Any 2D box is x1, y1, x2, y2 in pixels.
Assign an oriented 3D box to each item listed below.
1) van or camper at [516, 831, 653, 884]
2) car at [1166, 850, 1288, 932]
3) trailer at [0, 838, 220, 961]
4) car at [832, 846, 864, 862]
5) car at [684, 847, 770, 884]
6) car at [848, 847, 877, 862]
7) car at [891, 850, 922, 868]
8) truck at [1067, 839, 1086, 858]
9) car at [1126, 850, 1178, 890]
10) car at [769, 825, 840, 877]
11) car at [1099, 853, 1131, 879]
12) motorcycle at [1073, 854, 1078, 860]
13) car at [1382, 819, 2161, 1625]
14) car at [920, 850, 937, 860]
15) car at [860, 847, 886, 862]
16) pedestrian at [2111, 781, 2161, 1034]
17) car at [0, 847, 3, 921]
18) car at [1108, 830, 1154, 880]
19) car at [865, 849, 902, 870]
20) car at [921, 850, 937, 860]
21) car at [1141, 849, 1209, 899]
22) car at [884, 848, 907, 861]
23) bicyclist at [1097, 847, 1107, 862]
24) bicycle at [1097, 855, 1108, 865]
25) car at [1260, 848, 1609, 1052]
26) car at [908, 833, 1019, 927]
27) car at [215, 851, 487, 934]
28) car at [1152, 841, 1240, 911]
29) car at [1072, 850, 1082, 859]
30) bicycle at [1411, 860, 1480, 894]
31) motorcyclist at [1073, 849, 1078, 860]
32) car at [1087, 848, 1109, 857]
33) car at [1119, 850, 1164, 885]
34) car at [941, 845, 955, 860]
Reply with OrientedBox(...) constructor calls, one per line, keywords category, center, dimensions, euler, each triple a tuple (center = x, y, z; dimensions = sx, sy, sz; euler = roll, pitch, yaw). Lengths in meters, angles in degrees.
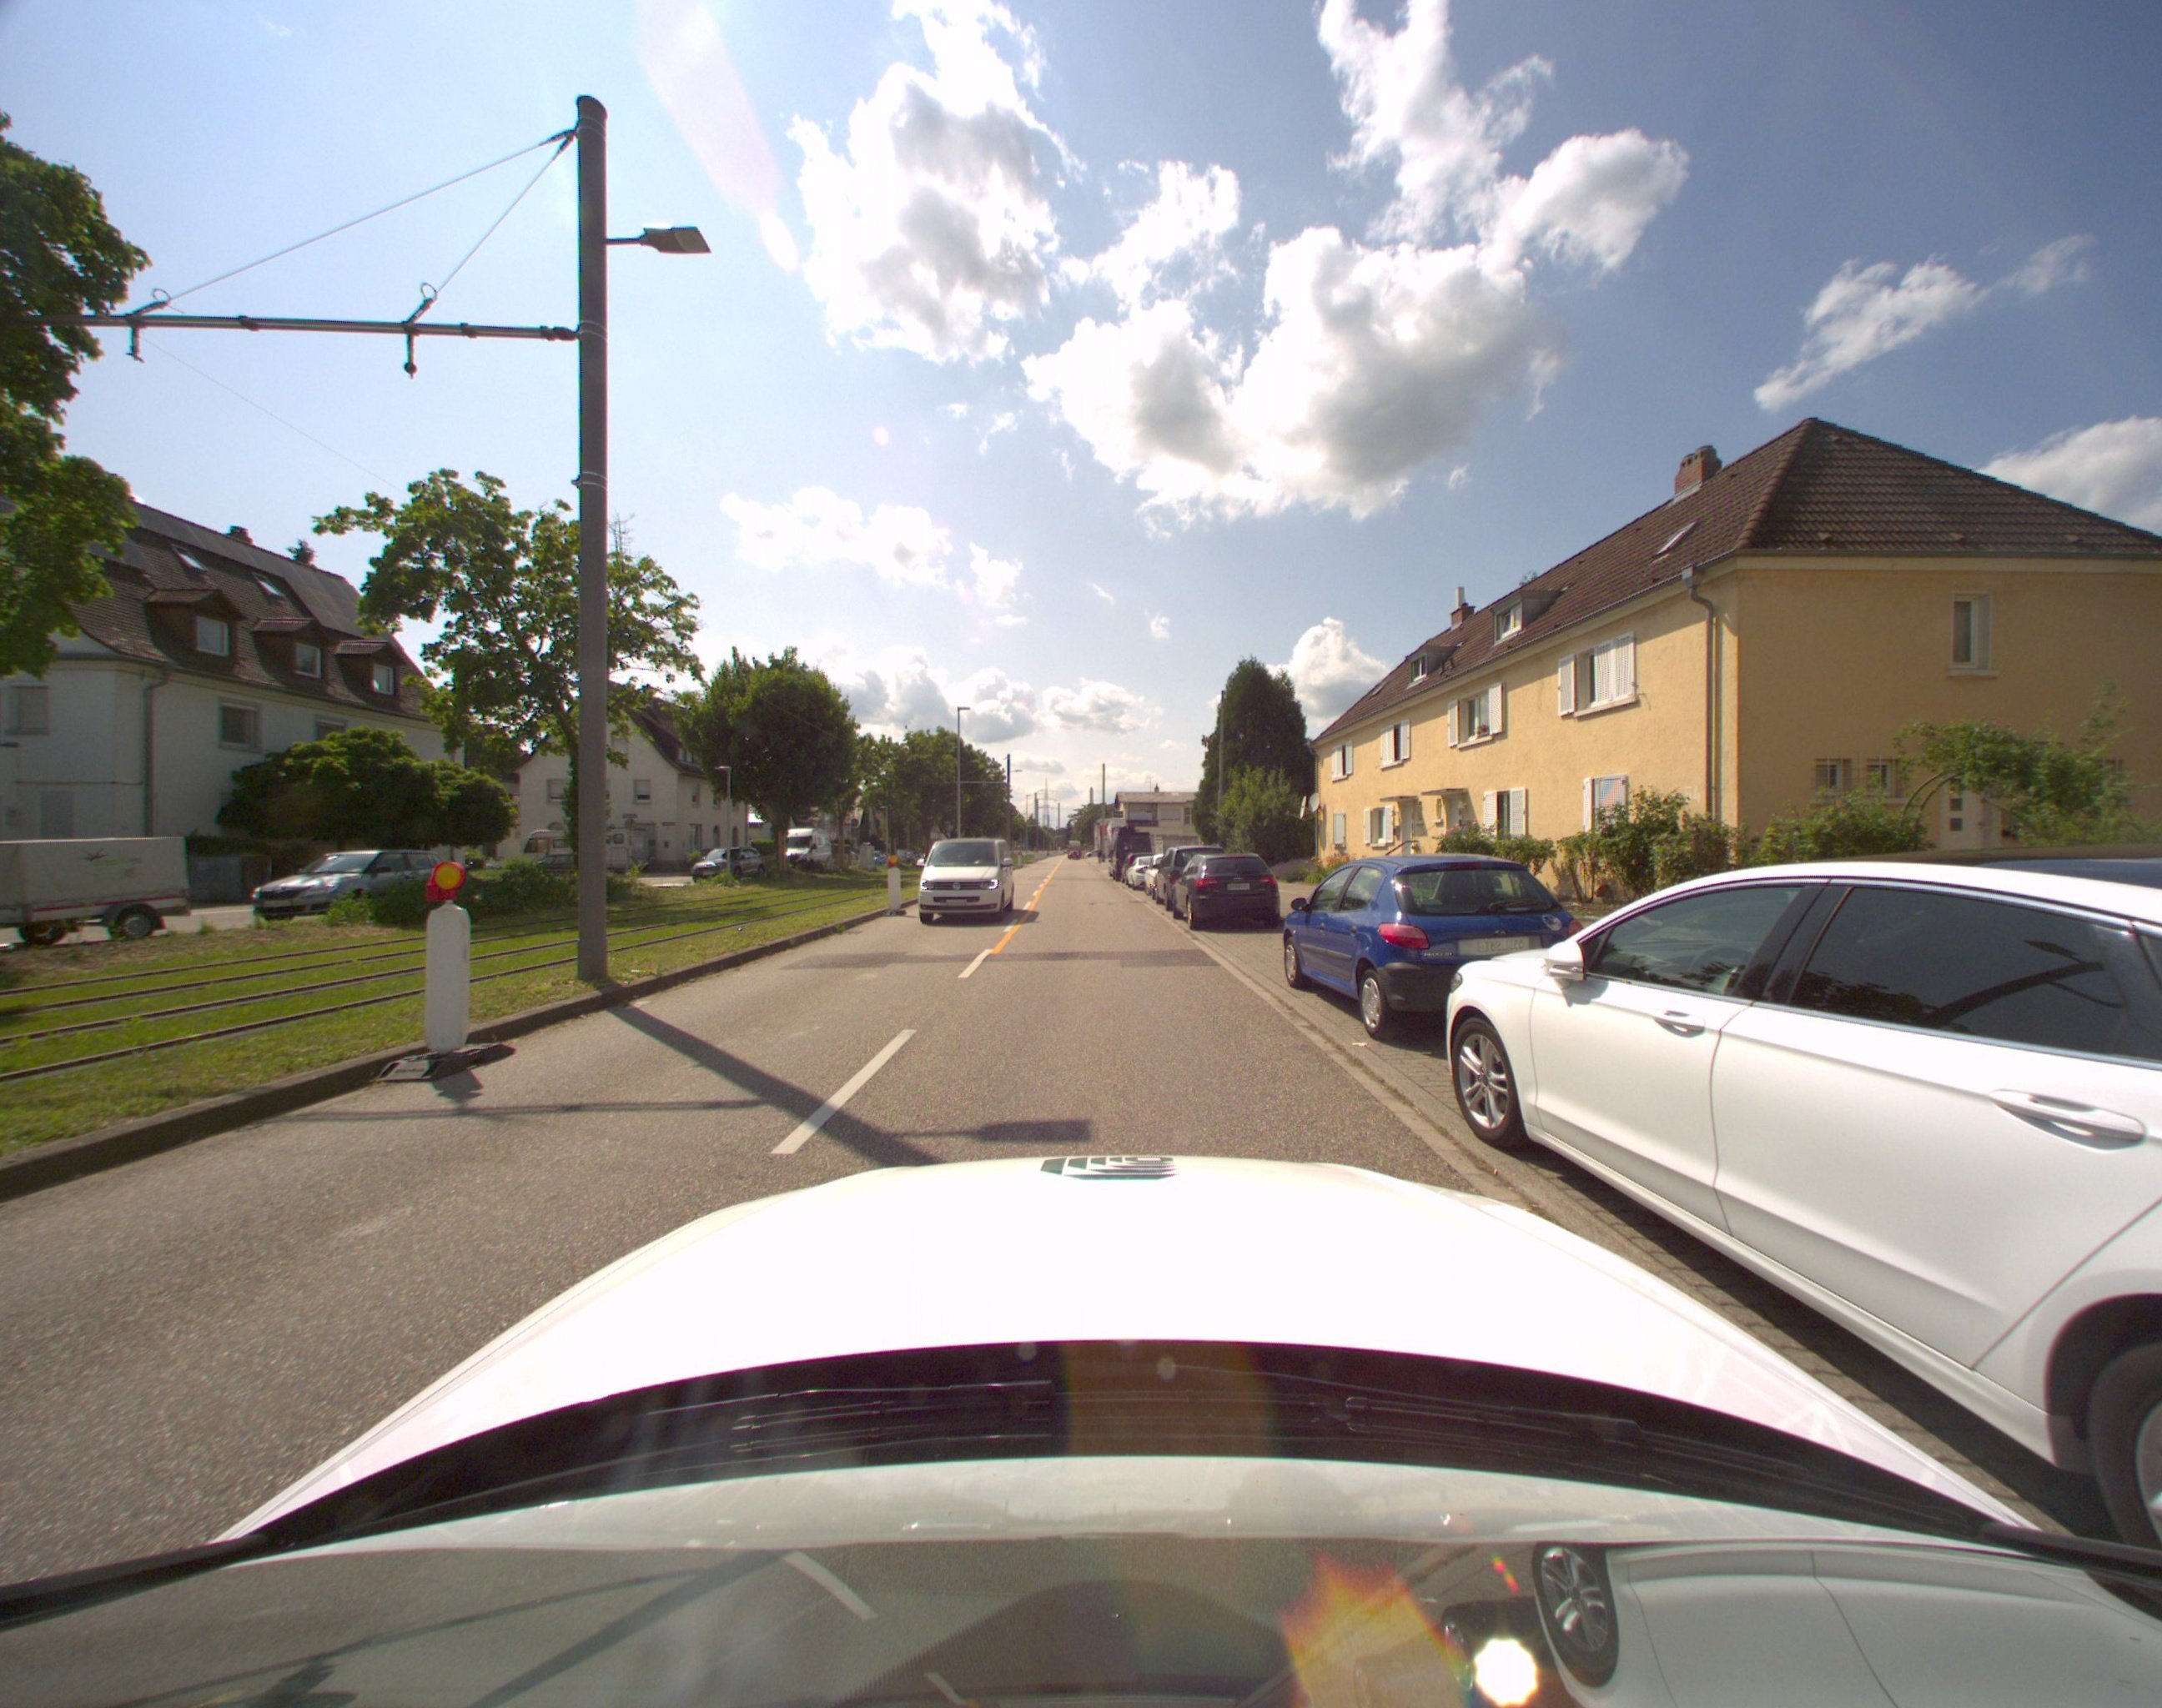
OrientedBox(category="van or camper", center=(-30.701, 0.212, 50.534), dimensions=(6.861, 3.126, 2.442), euler=(0, 0, -1))
OrientedBox(category="car", center=(2.870, 0.666, 16.803), dimensions=(1.758, 1.417, 3.999), euler=(-2, 0, 0))
OrientedBox(category="trailer", center=(-15.512, 0.618, 12.230), dimensions=(1.560, 1.678, 3.372), euler=(0, 0, 0))
OrientedBox(category="car", center=(-22.689, -0.005, 79.491), dimensions=(1.873, 1.553, 4.396), euler=(0, 0, -1))
OrientedBox(category="car", center=(-15.765, 0.471, 36.559), dimensions=(1.722, 1.505, 4.568), euler=(-2, 0, 1))
OrientedBox(category="car", center=(-22.817, 0.059, 85.104), dimensions=(1.873, 1.553, 4.396), euler=(0, 0, -1))
OrientedBox(category="car", center=(-15.561, 0.475, 72.755), dimensions=(1.873, 1.553, 4.396), euler=(0, 0, -1))
OrientedBox(category="truck", center=(-0.924, -0.972, 154.788), dimensions=(3.213, 3.402, 11.344), euler=(0, 0, -2))
OrientedBox(category="car", center=(2.818, 0.601, 33.108), dimensions=(1.758, 1.439, 3.999), euler=(-2, 0, 0))
OrientedBox(category="car", center=(-15.926, -0.188, 47.318), dimensions=(2.070, 2.721, 6.992), euler=(-2, 0, -4))
OrientedBox(category="car", center=(2.177, 0.755, 52.744), dimensions=(1.759, 1.502, 3.998), euler=(-2, 0, -1))
OrientedBox(category="motorcycle", center=(-0.875, 0.481, 132.568), dimensions=(0.881, 0.924, 2.615), euler=(0, 0, -1))
OrientedBox(category="car", center=(2.815, 0.645, 2.700), dimensions=(1.793, 1.458, 4.763), euler=(-2, 0, -1))
OrientedBox(category="car", center=(-23.256, 0.190, 124.308), dimensions=(1.873, 1.553, 4.394), euler=(0, 0, -2))
OrientedBox(category="car", center=(-22.975, 0.076, 90.064), dimensions=(1.873, 1.553, 4.396), euler=(0, 0, -1))
OrientedBox(category="pedestrian", center=(7.460, 0.349, 5.234), dimensions=(0.850, 1.652, 0.638), euler=(0, 0, 5))
OrientedBox(category="car", center=(-24.921, 0.651, 16.342), dimensions=(3.978, 1.571, 1.793), euler=(-1, 0, -3))
OrientedBox(category="car", center=(2.661, 0.055, 44.384), dimensions=(1.954, 2.478, 6.057), euler=(-2, 0, -1))
OrientedBox(category="car", center=(-15.408, 0.444, 63.722), dimensions=(1.873, 1.553, 4.376), euler=(0, 0, -1))
OrientedBox(category="car", center=(-24.326, 0.216, 130.101), dimensions=(1.873, 1.553, 4.394), euler=(0, 0, -2))
OrientedBox(category="car", center=(3.009, 0.605, 26.806), dimensions=(1.758, 1.476, 3.999), euler=(-2, 0, 0))
OrientedBox(category="car", center=(-23.099, 0.115, 101.692), dimensions=(1.873, 1.553, 4.396), euler=(0, 0, -1))
OrientedBox(category="bicyclist", center=(2.212, 0.072, 85.009), dimensions=(0.992, 1.569, 1.138), euler=(0, 0, -3))
OrientedBox(category="bicycle", center=(2.214, 0.619, 84.969), dimensions=(0.992, 1.049, 2.809), euler=(0, 0, -3))
OrientedBox(category="car", center=(3.003, 0.680, 7.890), dimensions=(1.615, 1.417, 3.999), euler=(-2, 0, 0))
OrientedBox(category="car", center=(-2.760, 0.547, 20.357), dimensions=(1.922, 1.958, 5.375), euler=(-2, 0, 0))
OrientedBox(category="car", center=(-15.618, 0.730, 17.849), dimensions=(1.722, 1.505, 4.568), euler=(-2, 0, 1))
OrientedBox(category="car", center=(3.001, 0.531, 21.965), dimensions=(1.758, 1.643, 3.999), euler=(-2, 0, 0))
OrientedBox(category="car", center=(-0.737, 0.011, 137.661), dimensions=(1.564, 1.498, 4.145), euler=(0, 0, -2))
OrientedBox(category="bicycle", center=(10.389, 0.644, 23.242), dimensions=(1.856, 0.956, 0.366), euler=(0, 0, -5))
OrientedBox(category="motorcyclist", center=(-0.872, 0.102, 132.305), dimensions=(0.881, 1.667, 1.108), euler=(0, 0, -1))
OrientedBox(category="car", center=(3.632, -0.319, 175.031), dimensions=(4.635, 1.823, 1.832), euler=(0, 0, -6))
OrientedBox(category="car", center=(2.803, 0.590, 38.287), dimensions=(1.758, 1.502, 3.999), euler=(-2, 0, 0))
OrientedBox(category="car", center=(-24.163, -0.237, 147.784), dimensions=(1.873, 2.746, 4.394), euler=(0, 0, -2))
